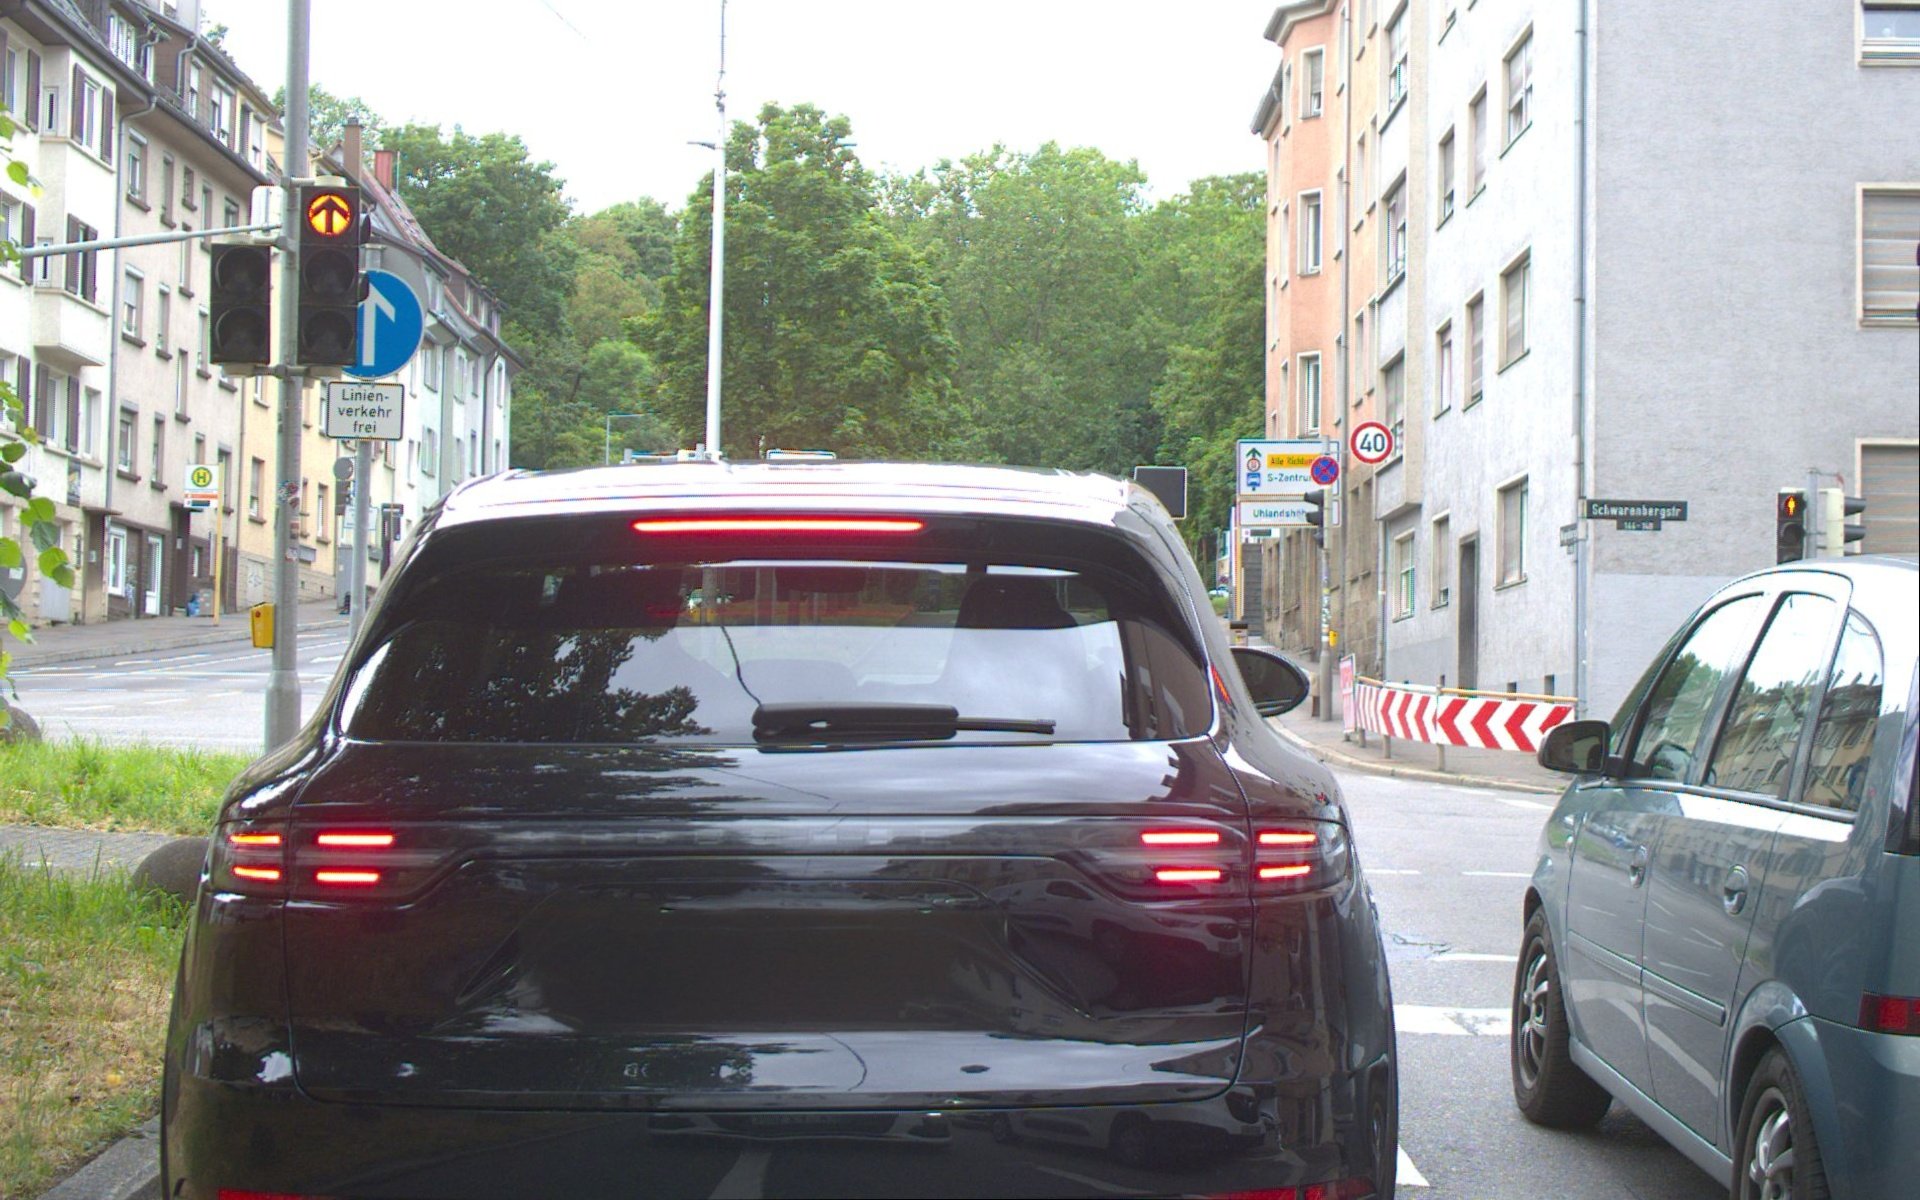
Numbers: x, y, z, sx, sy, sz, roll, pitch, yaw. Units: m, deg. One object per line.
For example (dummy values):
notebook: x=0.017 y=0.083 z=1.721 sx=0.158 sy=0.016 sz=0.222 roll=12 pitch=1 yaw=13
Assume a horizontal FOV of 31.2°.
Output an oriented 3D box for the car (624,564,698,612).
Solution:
car: x=-8.916 y=-0.372 z=102.796 sx=1.862 sy=1.383 sz=4.094 roll=1 pitch=1 yaw=0

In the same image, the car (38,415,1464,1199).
car: x=-0.309 y=0.562 z=6.724 sx=1.955 sy=1.669 sz=4.000 roll=0 pitch=1 yaw=-1

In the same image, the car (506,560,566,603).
car: x=-15.404 y=-0.673 z=124.971 sx=1.689 sy=1.533 sz=3.814 roll=1 pitch=1 yaw=0

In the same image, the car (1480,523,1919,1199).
car: x=2.355 y=0.693 z=7.891 sx=1.628 sy=1.592 sz=3.669 roll=4 pitch=1 yaw=-1

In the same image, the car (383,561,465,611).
car: x=-15.393 y=-0.422 z=98.882 sx=1.739 sy=1.382 sz=3.814 roll=1 pitch=1 yaw=0

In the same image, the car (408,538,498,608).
car: x=-15.337 y=-0.820 z=104.188 sx=2.016 sy=2.038 sz=4.667 roll=1 pitch=1 yaw=0

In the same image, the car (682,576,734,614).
car: x=-11.075 y=-0.249 z=151.361 sx=1.974 sy=1.605 sz=4.558 roll=1 pitch=1 yaw=0

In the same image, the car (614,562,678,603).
car: x=-11.684 y=-0.649 z=128.246 sx=1.844 sy=1.481 sz=3.897 roll=1 pitch=1 yaw=3
